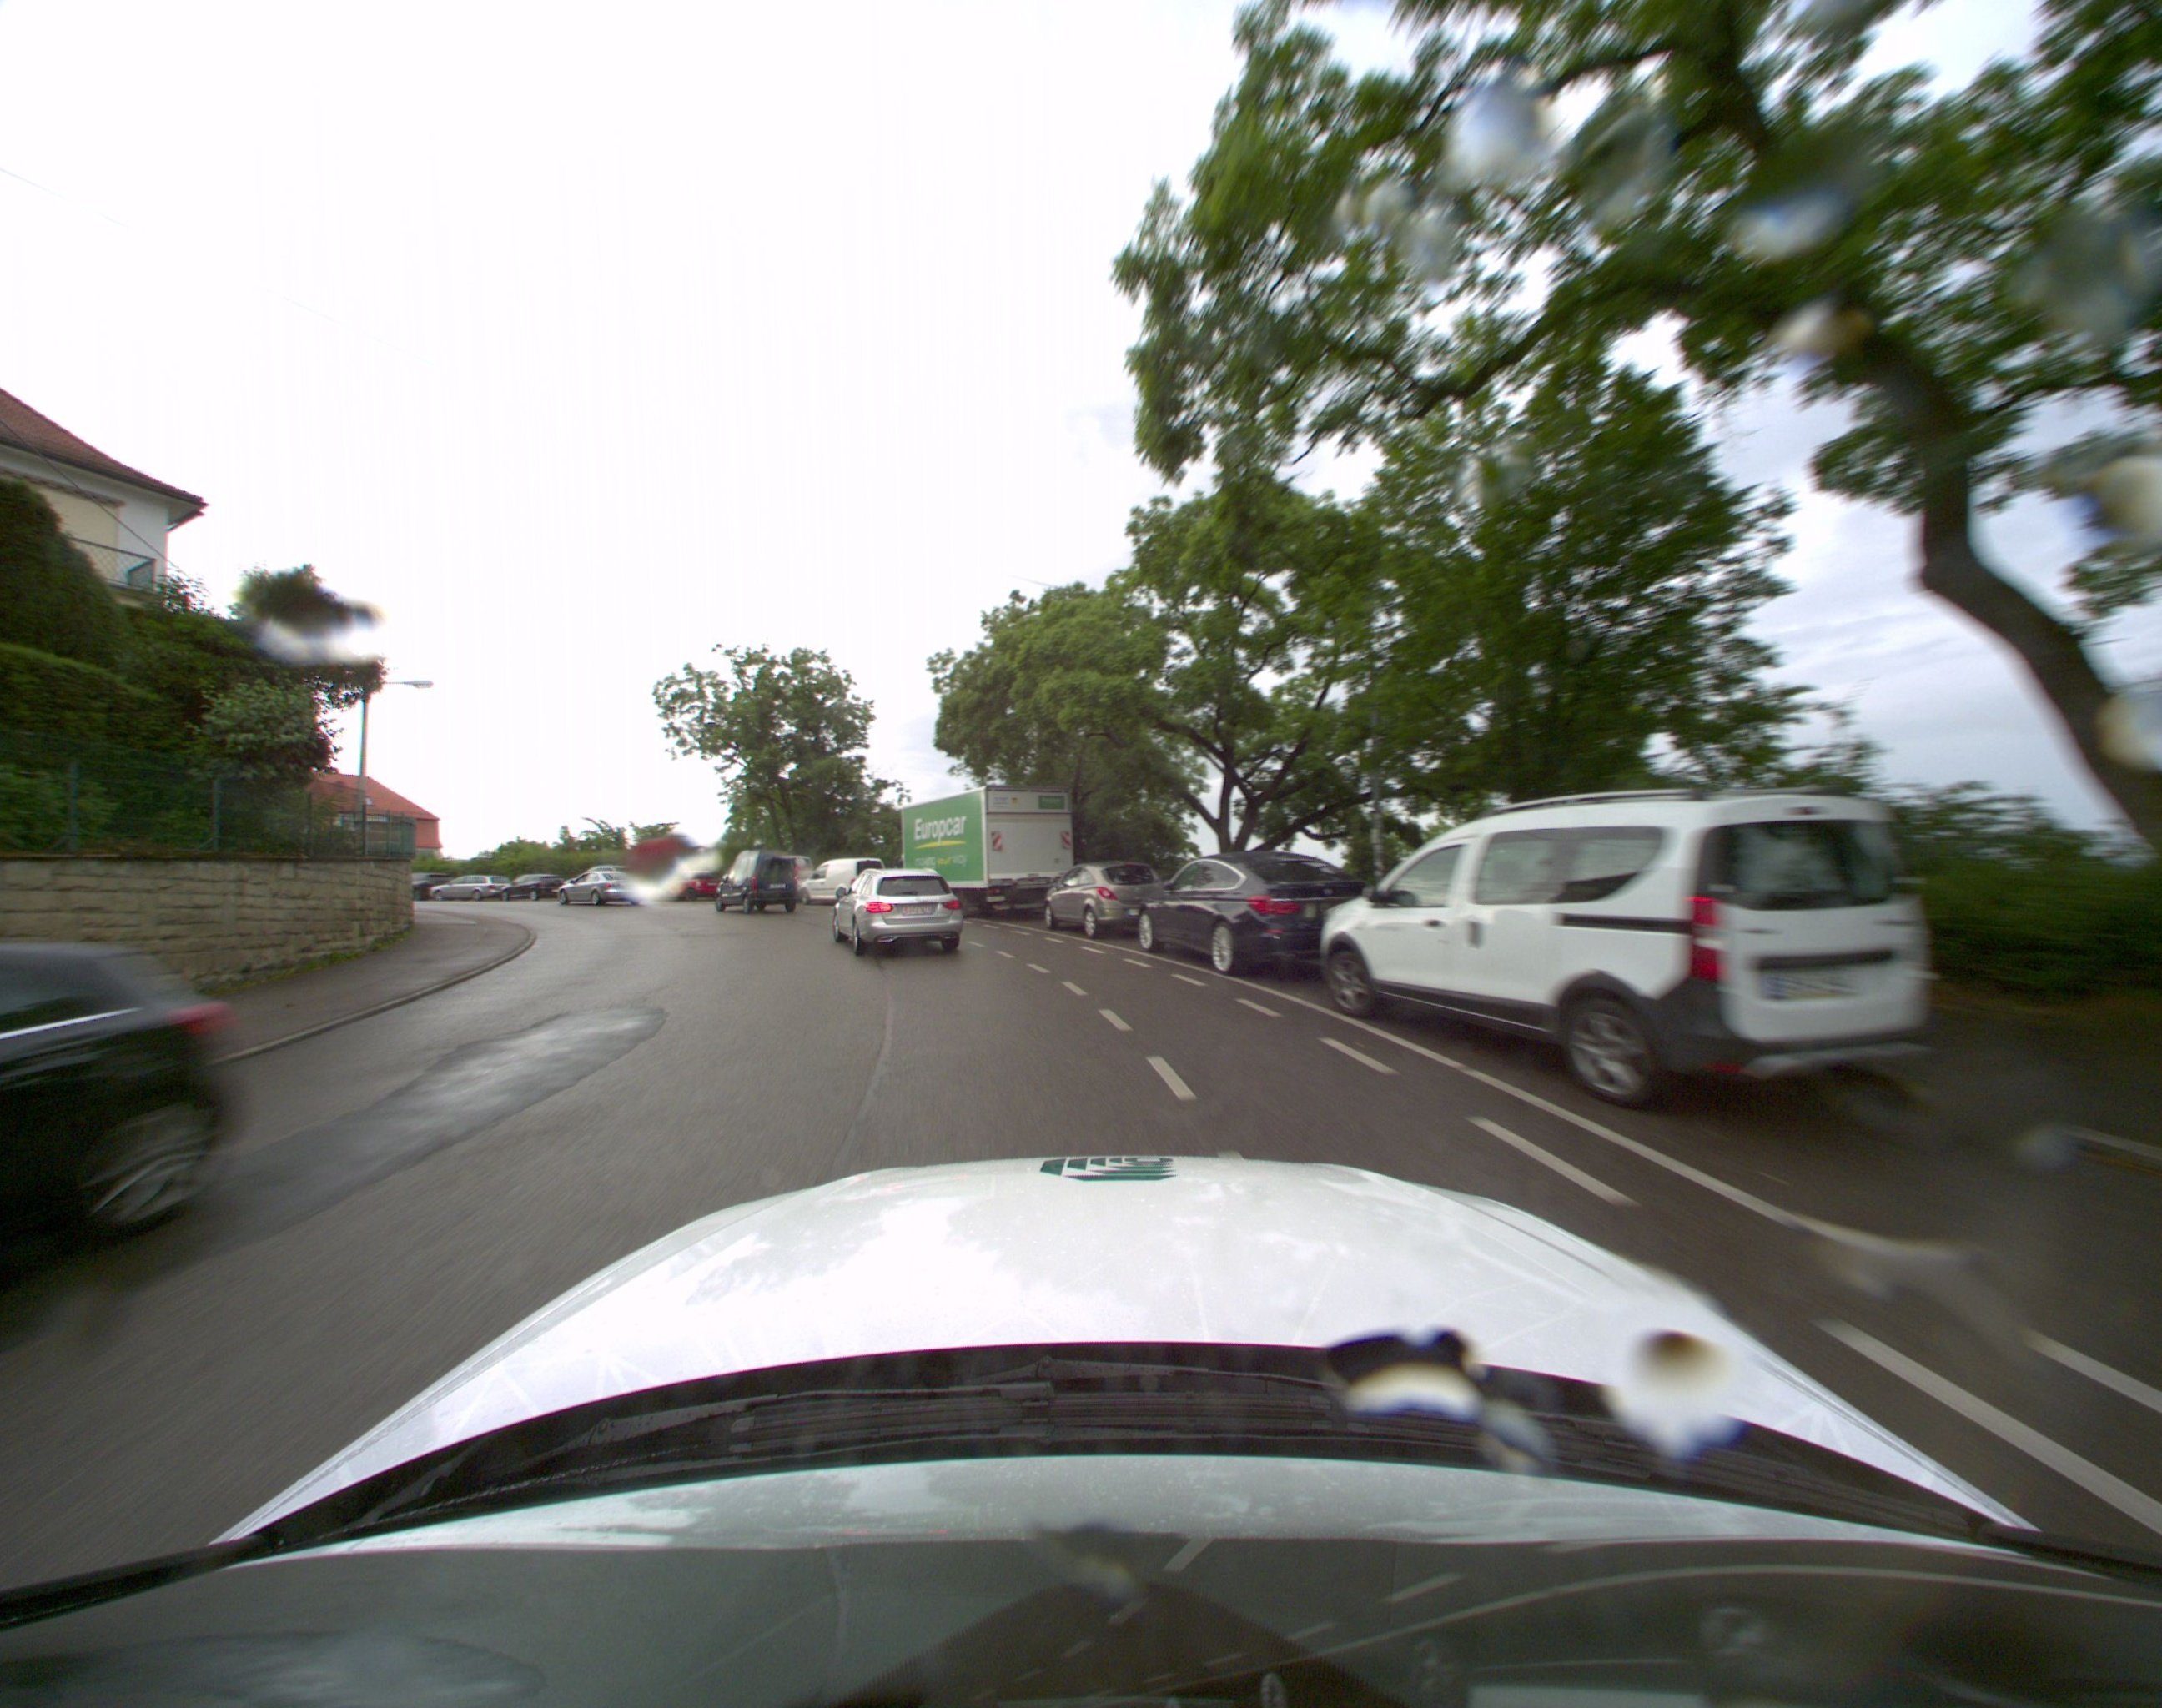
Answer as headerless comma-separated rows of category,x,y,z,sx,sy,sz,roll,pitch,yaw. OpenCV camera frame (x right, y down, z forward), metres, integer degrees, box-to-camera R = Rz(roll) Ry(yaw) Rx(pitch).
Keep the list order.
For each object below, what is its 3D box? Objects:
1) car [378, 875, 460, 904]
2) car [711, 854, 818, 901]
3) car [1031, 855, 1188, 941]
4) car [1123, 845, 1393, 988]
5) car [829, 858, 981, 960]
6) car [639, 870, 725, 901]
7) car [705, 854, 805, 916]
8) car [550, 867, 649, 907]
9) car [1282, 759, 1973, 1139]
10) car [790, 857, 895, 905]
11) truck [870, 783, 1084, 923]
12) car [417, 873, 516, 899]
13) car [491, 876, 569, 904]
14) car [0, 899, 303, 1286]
car,-39.650,2.147,48.799,4.492,1.663,1.903,-1,-4,24
car,-13.911,1.023,35.715,4.745,1.948,1.878,-2,-1,32
car,0.448,0.850,17.203,1.741,1.503,4.105,-3,0,-22
car,2.231,0.745,11.919,1.863,1.542,4.871,-3,0,-14
car,-3.437,0.912,15.217,1.991,1.554,4.264,-1,-1,-23
car,-19.075,1.511,38.964,3.696,1.414,1.685,-1,-2,24
car,-11.255,1.049,27.960,1.840,1.882,4.045,-3,0,-42
car,-20.193,1.386,34.125,4.042,1.458,1.872,-3,0,32
car,3.454,0.467,6.360,1.749,1.821,4.402,-3,0,-14
car,-9.420,1.054,32.055,4.322,1.770,1.877,-2,-1,40
truck,-3.526,0.008,24.656,2.793,3.470,8.841,-2,0,-33
car,-34.857,1.823,46.240,4.596,1.440,1.810,-1,-3,11
car,-29.366,1.941,43.407,3.933,1.422,1.703,-2,-3,26
car,-5.043,1.010,2.441,1.786,1.434,4.103,-3,0,-8
